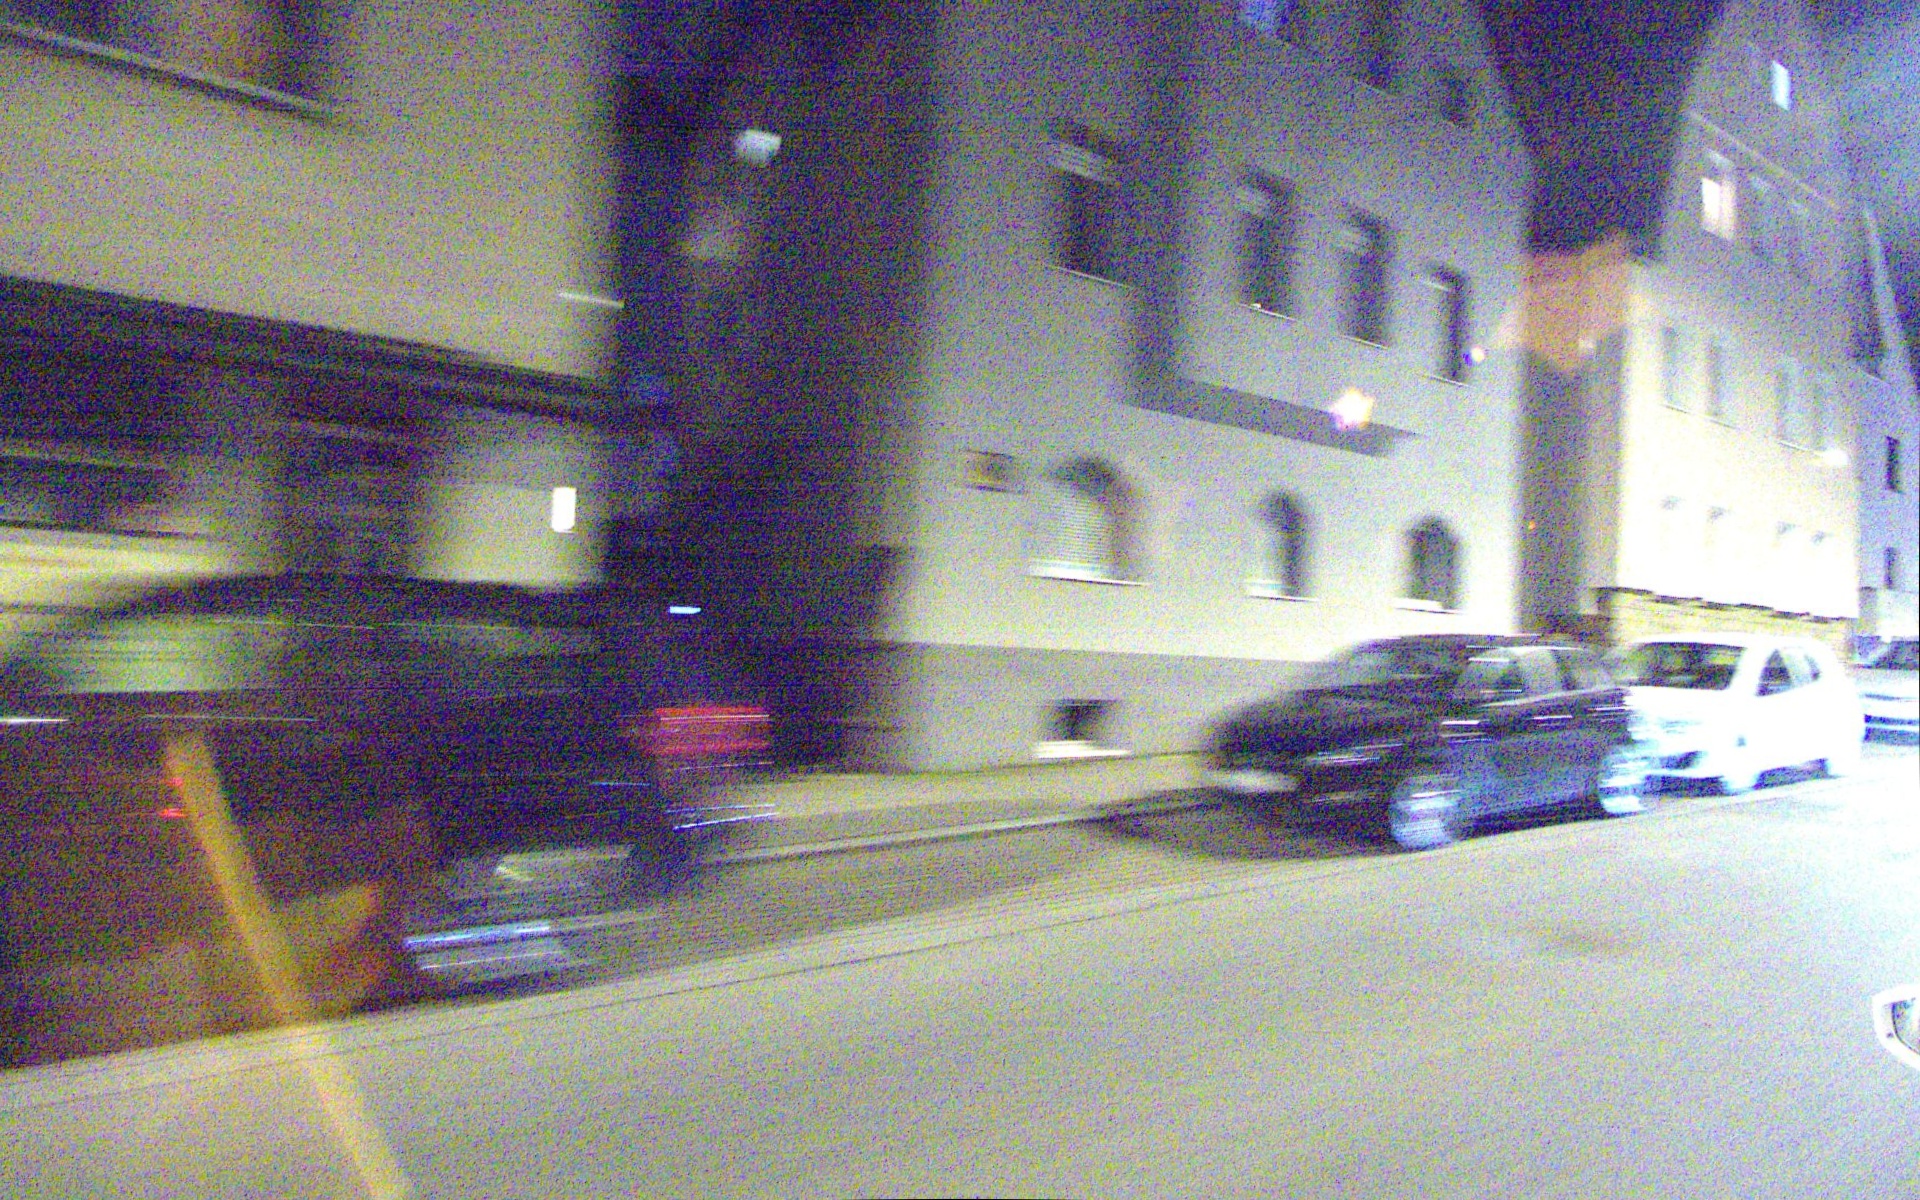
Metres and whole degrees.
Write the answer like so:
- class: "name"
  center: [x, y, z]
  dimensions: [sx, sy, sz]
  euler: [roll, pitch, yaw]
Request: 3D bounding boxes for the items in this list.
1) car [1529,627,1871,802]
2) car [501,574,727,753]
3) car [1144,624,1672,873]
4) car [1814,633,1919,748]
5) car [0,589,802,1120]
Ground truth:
- class: "car"
  center: [7.824, 1.088, 10.552]
  dimensions: [3.738, 1.511, 1.613]
  euler: [2, -1, -32]
- class: "car"
  center: [-4.647, 0.732, 13.111]
  dimensions: [1.938, 1.941, 3.966]
  euler: [2, -1, -32]
- class: "car"
  center: [3.716, 1.003, 8.140]
  dimensions: [4.232, 1.511, 1.854]
  euler: [2, -1, -32]
- class: "car"
  center: [14.307, 1.230, 14.573]
  dimensions: [4.180, 1.511, 1.695]
  euler: [1, -3, -32]
- class: "car"
  center: [-3.090, 0.799, 4.092]
  dimensions: [4.491, 1.640, 1.826]
  euler: [1, -1, -30]
